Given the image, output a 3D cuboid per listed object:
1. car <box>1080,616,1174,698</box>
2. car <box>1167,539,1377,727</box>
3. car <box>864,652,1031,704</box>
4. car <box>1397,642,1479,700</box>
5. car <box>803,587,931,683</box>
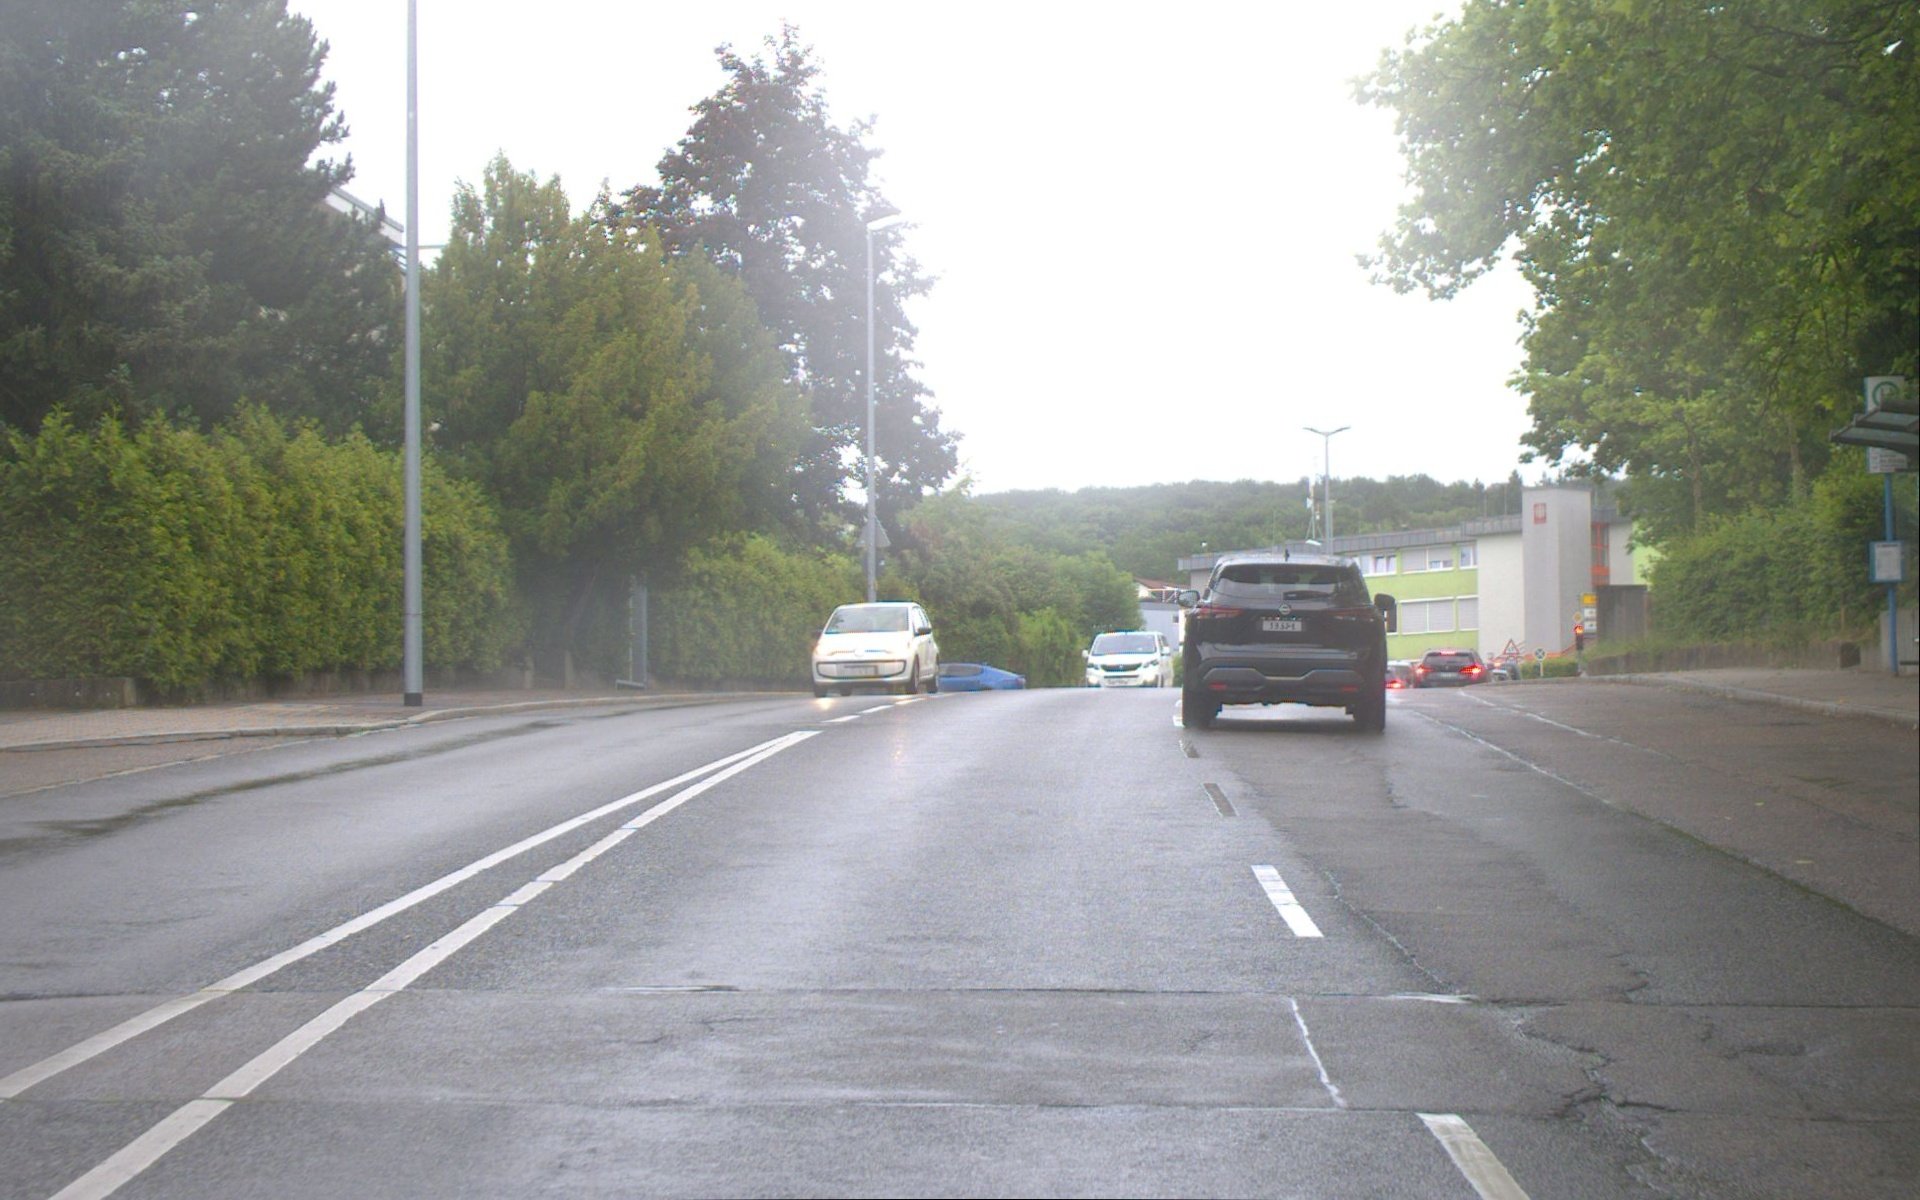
[{"bbox_3d":[4.262,1.421,86.854,1.864,1.910,5.027,-3,-1,8],"label":"car"},{"bbox_3d":[2.893,0.249,32.153,1.790,1.598,4.253,2,1,5],"label":"car"},{"bbox_3d":[-0.331,2.188,96.181,4.483,1.357,1.805,1,-1,6],"label":"car"},{"bbox_3d":[12.308,1.819,88.648,1.994,1.437,3.999,1,-1,7],"label":"car"},{"bbox_3d":[-1.427,0.528,53.998,1.685,1.449,3.397,0,0,4],"label":"car"}]
